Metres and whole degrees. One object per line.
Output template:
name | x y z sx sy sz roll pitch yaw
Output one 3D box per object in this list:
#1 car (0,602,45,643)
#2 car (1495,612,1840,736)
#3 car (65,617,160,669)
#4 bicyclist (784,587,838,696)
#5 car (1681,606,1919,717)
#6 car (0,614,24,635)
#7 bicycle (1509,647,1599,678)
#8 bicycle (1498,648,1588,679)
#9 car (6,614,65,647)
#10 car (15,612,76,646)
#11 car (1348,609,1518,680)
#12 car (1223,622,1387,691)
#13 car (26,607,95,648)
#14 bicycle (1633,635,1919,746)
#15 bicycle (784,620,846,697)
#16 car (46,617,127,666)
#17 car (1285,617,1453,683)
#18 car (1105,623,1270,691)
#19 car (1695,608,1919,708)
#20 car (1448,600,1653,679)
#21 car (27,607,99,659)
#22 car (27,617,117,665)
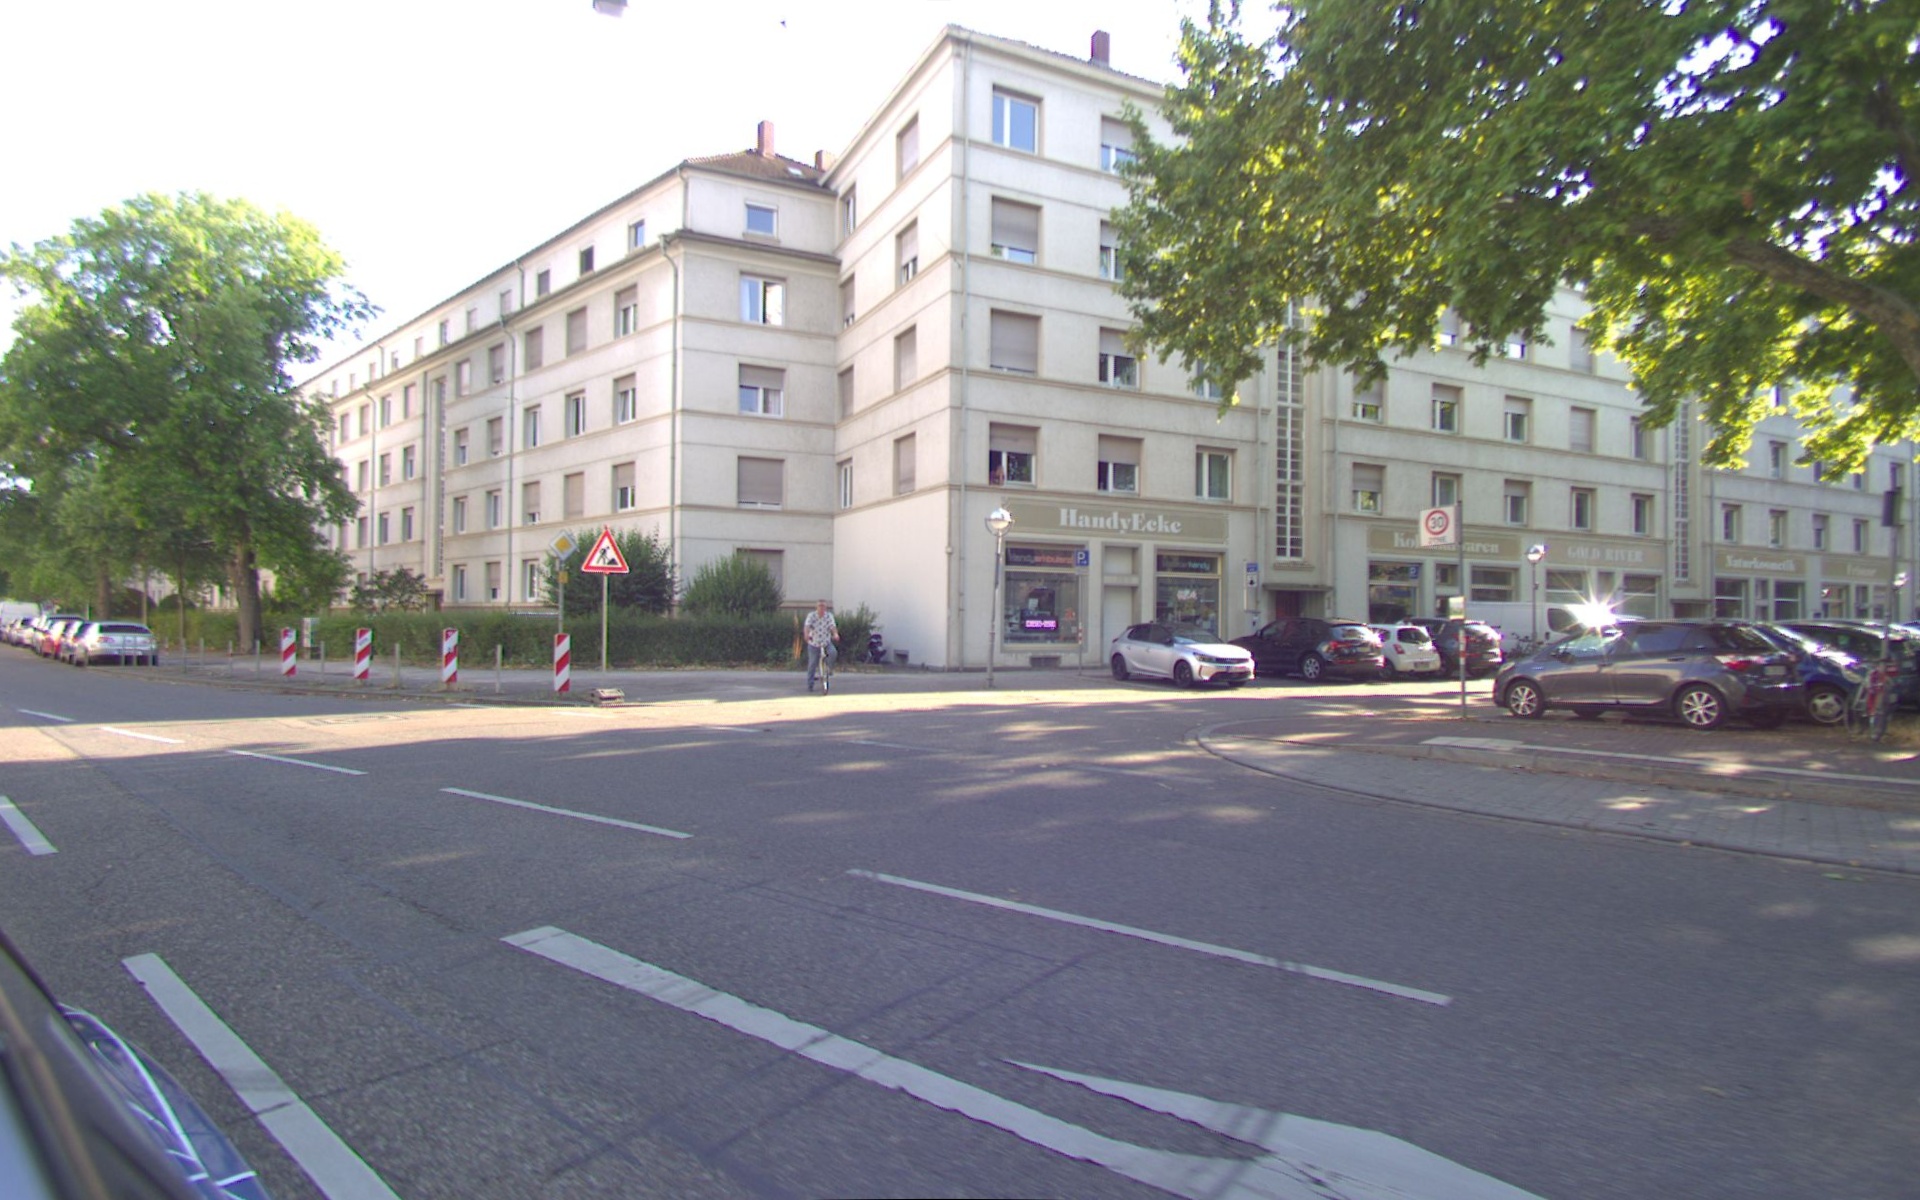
car | -61.061 1.431 65.333 6.164 2.464 2.333 0 2 43
car | 9.946 0.963 14.524 1.725 1.529 3.661 1 -2 -28
car | -27.054 1.311 32.263 4.711 1.362 1.750 0 3 43
bicyclist | -2.885 0.774 19.512 0.961 2.029 0.799 -1 1 -12
car | 14.539 0.944 16.704 1.851 1.630 4.005 -1 1 -42
car | -73.055 1.807 77.130 4.651 1.365 1.855 0 -11 41
bicycle | 16.827 1.772 28.733 0.578 0.803 2.163 1 -2 -32
bicycle | 16.376 1.780 28.493 0.578 0.803 2.163 1 -2 -32
car | -49.273 1.616 53.926 5.057 1.570 1.850 -2 -6 44
car | -45.478 1.479 50.295 4.101 1.570 1.850 -3 -5 43
car | 13.086 1.186 28.257 1.627 1.740 4.048 2 -1 -31
car | 8.822 1.400 26.204 1.626 1.523 4.049 2 0 -25
car | -41.078 1.203 46.164 4.975 1.690 1.895 0 3 44
bicycle | 10.298 1.067 12.452 3.292 1.154 0.710 0 1 44
bicycle | -2.801 1.073 19.302 0.994 1.274 2.489 -1 1 -12
car | -30.740 1.417 35.590 4.129 1.450 1.685 0 4 43
car | 10.984 1.309 27.456 1.627 1.559 4.048 2 -1 -31
car | 5.246 1.292 23.864 1.626 1.346 4.049 2 0 -25
car | 16.174 1.002 18.624 1.851 1.630 4.005 -1 1 -42
car | 17.741 1.109 30.712 1.627 2.138 5.185 2 -1 -31
car | -37.817 1.410 42.626 4.498 1.570 1.850 -10 -5 43
car | -34.191 1.550 38.940 3.995 1.569 1.853 -1 4 39
